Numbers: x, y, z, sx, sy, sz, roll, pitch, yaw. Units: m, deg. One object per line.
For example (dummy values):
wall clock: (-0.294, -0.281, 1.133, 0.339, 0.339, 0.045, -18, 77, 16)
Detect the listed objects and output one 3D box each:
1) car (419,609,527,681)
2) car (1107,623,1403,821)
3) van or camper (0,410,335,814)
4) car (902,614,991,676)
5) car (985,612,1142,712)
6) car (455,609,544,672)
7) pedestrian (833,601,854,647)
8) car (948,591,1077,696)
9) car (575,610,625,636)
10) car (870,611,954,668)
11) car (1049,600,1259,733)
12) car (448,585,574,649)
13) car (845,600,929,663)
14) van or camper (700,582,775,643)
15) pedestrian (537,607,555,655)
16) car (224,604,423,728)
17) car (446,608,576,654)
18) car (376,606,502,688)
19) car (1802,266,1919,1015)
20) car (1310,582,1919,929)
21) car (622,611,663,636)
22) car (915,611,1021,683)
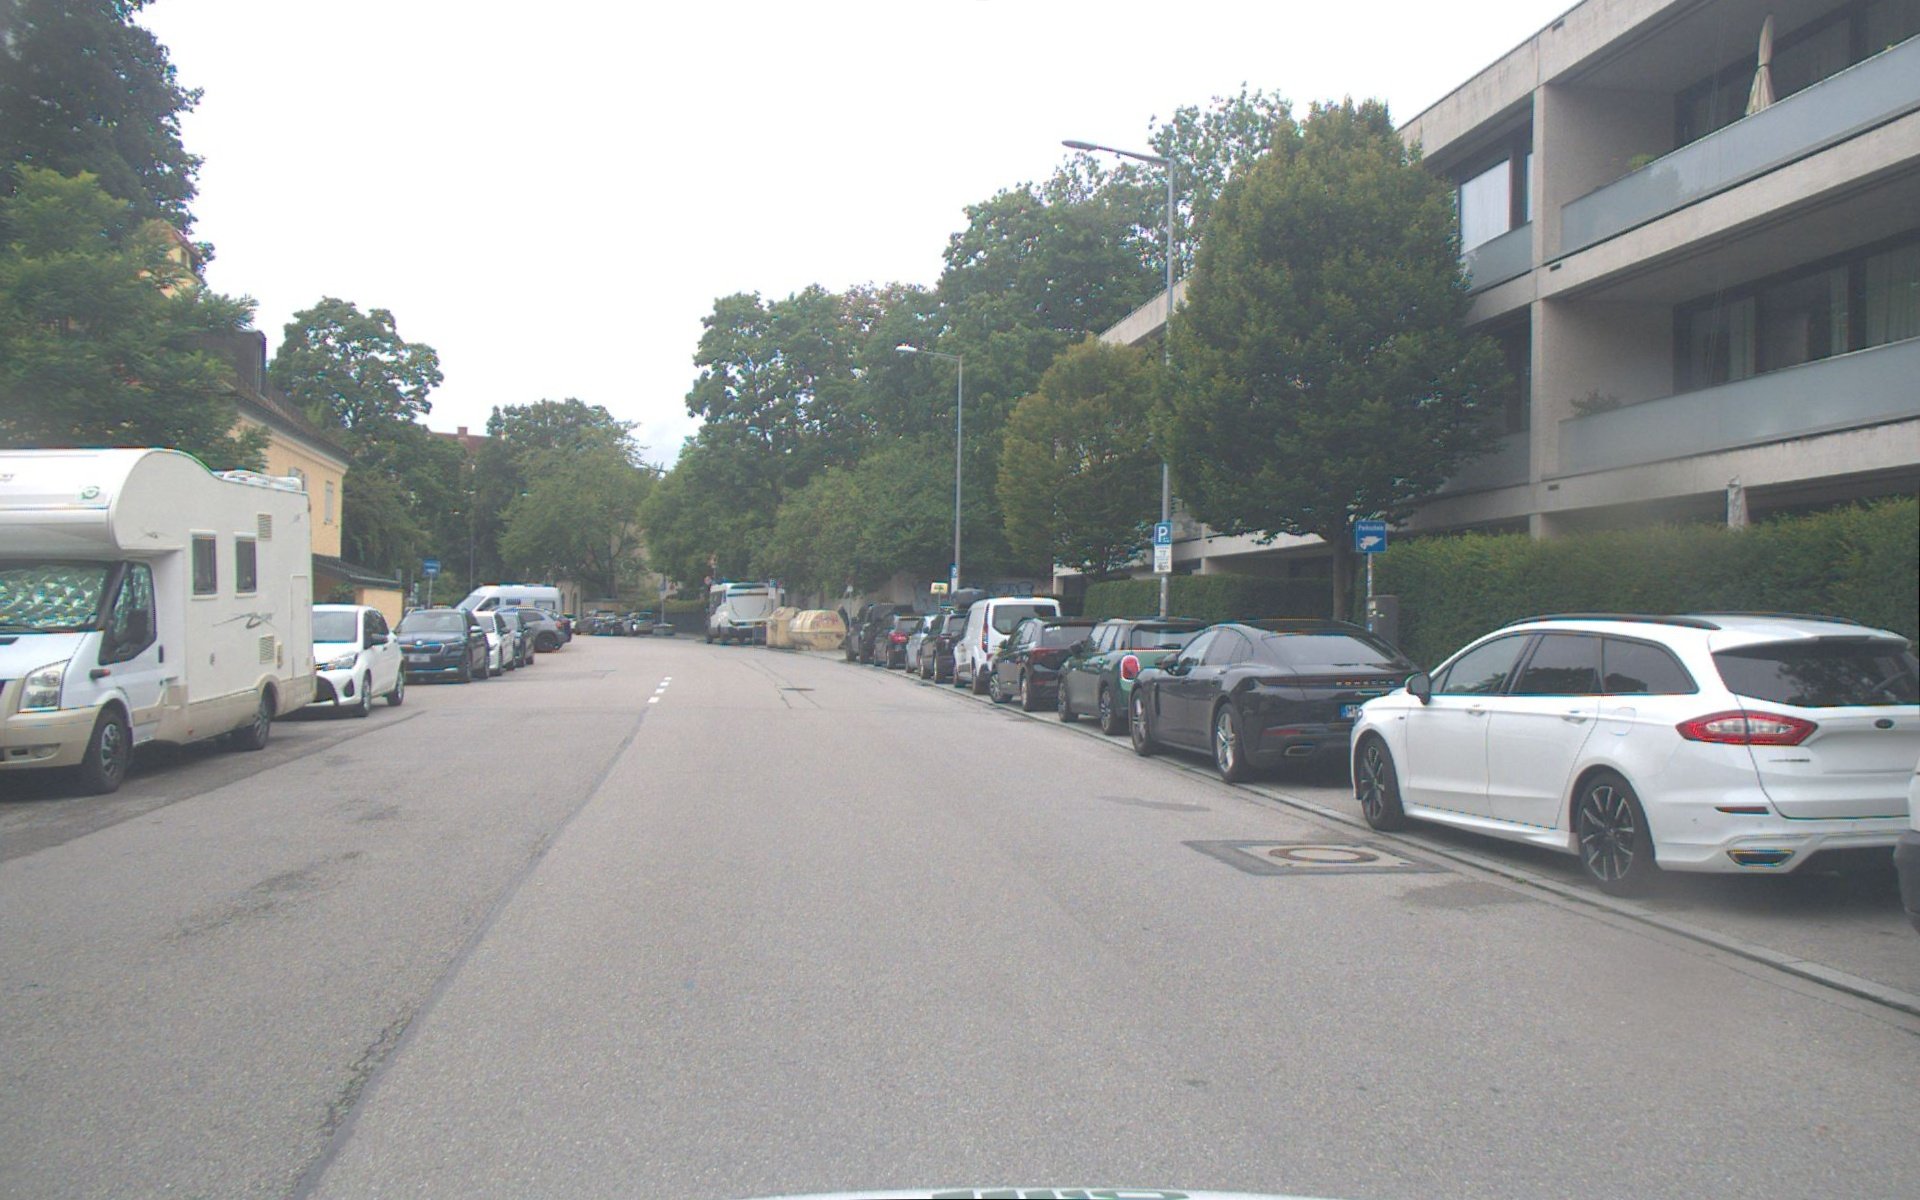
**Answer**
car: (-11.584, 1.019, 39.600, 1.811, 1.562, 4.512, -2, 0, -8)
car: (2.726, 1.056, 16.512, 1.257, 1.532, 5.196, -2, 0, -9)
van or camper: (-8.128, 0.121, 15.737, 2.408, 2.992, 7.199, -1, 0, -7)
car: (-0.389, 1.136, 42.733, 1.716, 1.506, 3.879, 1, 0, -9)
car: (1.608, 0.953, 27.241, 1.715, 1.489, 4.233, 0, 0, -9)
car: (-12.312, 1.044, 44.454, 1.812, 1.562, 4.550, -2, 0, -10)
pedestrian: (-5.197, 1.074, 74.020, 0.784, 2.020, 0.627, 1, -1, -20)
car: (0.960, 0.820, 33.080, 1.788, 1.893, 4.890, 2, -1, -7)
car: (-25.214, 1.586, 115.639, 1.974, 1.741, 4.832, -1, 0, -31)
car: (-1.454, 1.126, 48.345, 1.717, 1.566, 4.556, 1, -1, -11)
car: (2.455, 0.803, 21.981, 1.695, 1.556, 4.195, -1, 0, -9)
car: (-18.710, 0.681, 69.039, 4.599, 2.608, 2.199, 0, 0, -43)
car: (-2.414, 1.019, 53.618, 1.952, 1.904, 5.063, 1, -2, -11)
van or camper: (-11.331, 0.649, 83.743, 2.239, 2.957, 7.232, 1, -1, -20)
pedestrian: (-14.470, 1.080, 57.809, 0.581, 1.676, 0.710, 0, 0, -19)
car: (-9.015, 0.872, 23.764, 1.745, 1.562, 4.219, -2, 0, -9)
car: (-15.890, 1.112, 58.517, 4.272, 1.557, 1.920, 1, -2, -23)
car: (-10.886, 0.965, 34.840, 1.811, 1.562, 4.432, -2, -1, -8)
car: (4.927, 0.142, 3.821, 2.042, 2.733, 6.073, -1, 0, -10)
car: (4.106, 0.714, 10.465, 1.838, 1.597, 4.987, -2, 1, -12)
car: (-20.798, 1.563, 108.147, 1.722, 1.563, 2.914, -1, -1, -32)
car: (0.119, 1.036, 38.151, 1.715, 1.506, 4.588, 1, 0, -9)
